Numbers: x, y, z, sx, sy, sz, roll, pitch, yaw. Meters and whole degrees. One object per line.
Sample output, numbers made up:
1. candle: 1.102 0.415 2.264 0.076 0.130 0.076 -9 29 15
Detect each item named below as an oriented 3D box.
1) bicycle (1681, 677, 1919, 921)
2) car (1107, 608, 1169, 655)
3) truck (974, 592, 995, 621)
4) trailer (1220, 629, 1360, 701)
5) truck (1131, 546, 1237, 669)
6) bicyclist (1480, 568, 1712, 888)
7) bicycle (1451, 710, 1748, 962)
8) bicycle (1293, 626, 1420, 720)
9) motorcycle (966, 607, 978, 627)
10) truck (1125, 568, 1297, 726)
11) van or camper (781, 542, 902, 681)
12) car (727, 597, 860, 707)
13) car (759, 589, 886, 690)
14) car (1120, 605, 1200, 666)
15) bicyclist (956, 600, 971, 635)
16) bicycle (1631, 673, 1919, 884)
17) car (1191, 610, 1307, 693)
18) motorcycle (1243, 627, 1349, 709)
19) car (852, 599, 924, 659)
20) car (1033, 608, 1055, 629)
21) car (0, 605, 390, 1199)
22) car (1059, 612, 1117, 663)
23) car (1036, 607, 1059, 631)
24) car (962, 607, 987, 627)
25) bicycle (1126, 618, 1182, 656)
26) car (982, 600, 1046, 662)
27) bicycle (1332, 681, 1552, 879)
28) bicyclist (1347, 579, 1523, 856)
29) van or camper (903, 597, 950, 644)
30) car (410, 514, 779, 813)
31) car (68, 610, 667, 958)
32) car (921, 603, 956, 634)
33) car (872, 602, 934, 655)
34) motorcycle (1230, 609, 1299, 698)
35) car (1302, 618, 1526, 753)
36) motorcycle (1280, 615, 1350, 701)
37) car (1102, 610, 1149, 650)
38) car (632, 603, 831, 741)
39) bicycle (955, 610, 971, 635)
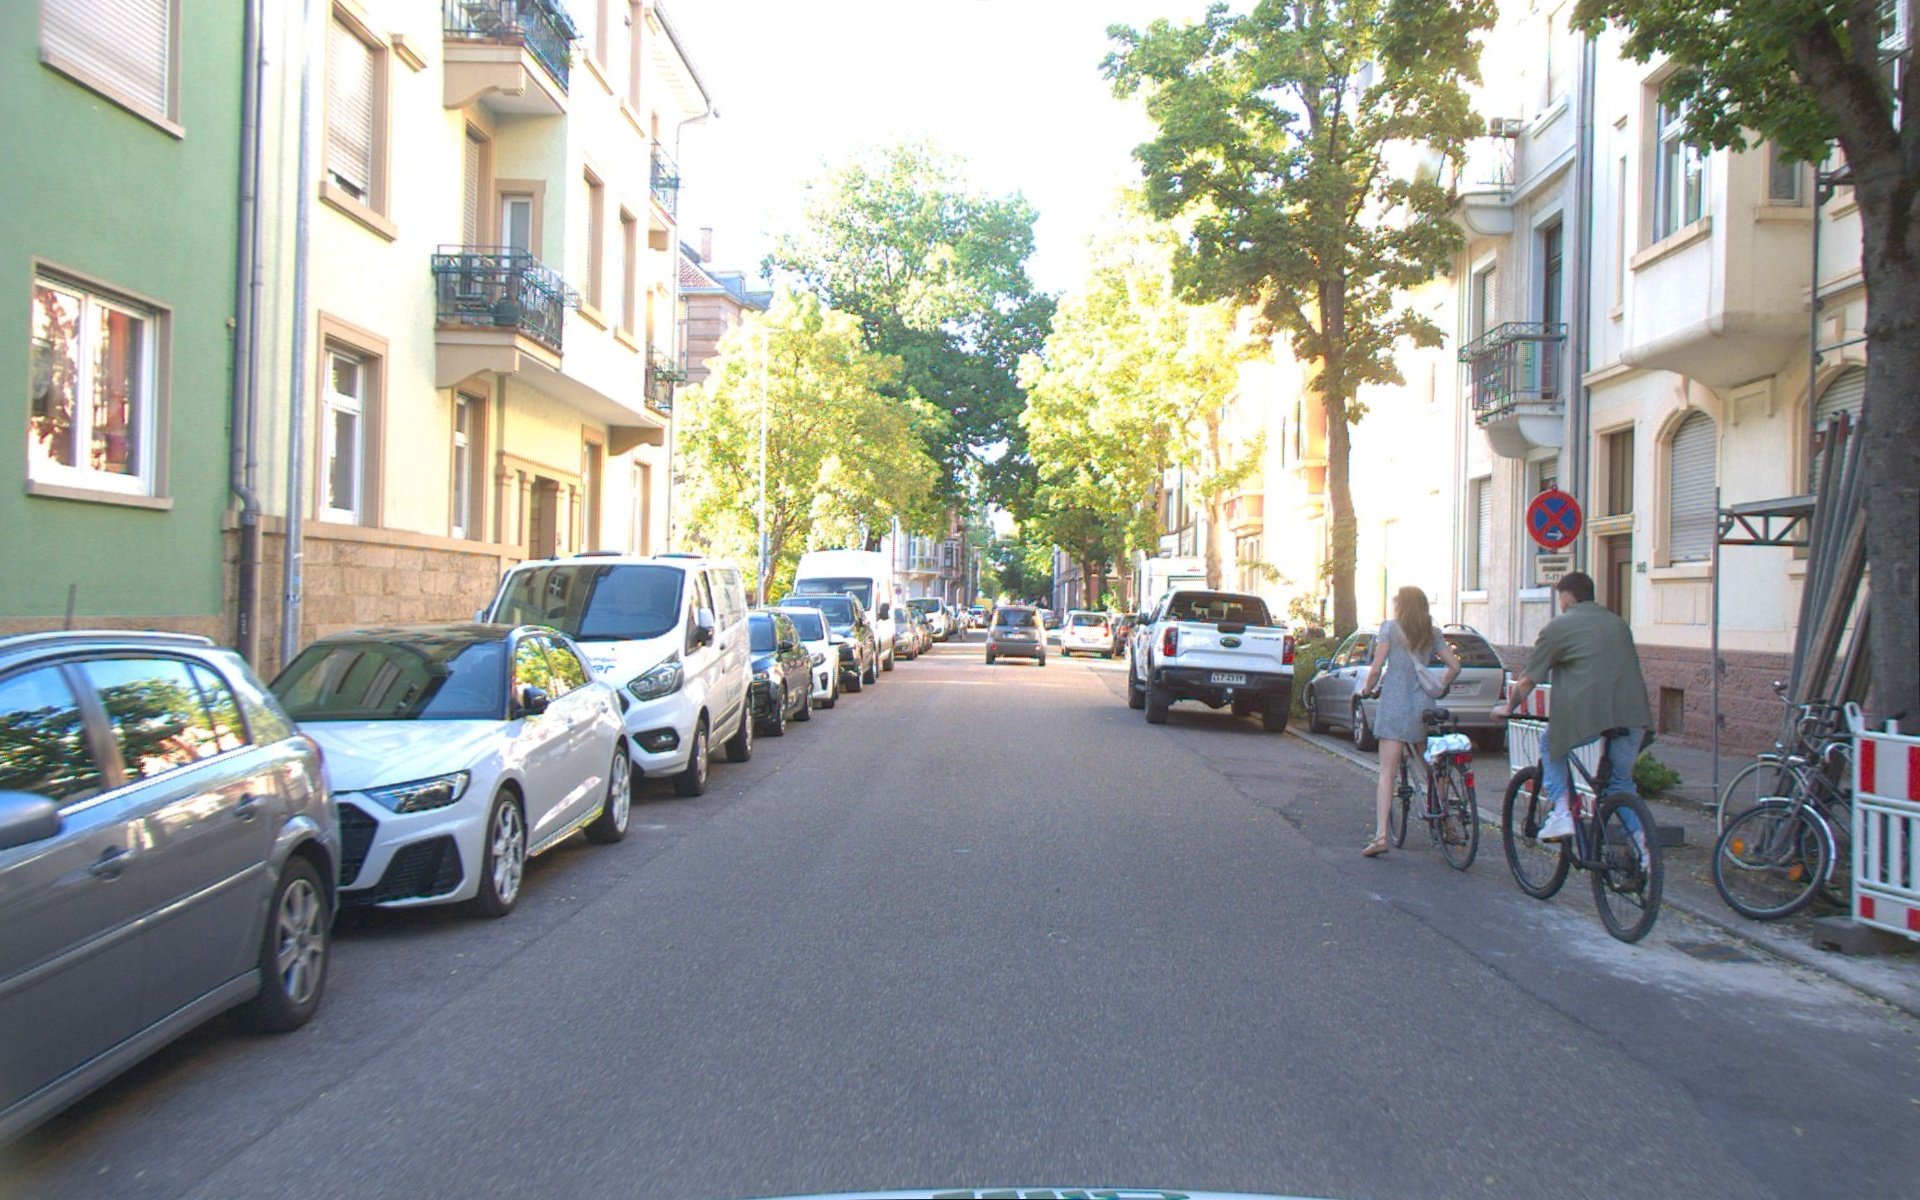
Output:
1. bicycle: 4.849 1.031 8.637 1.888 1.141 0.746 2 0 31
2. car: 6.302 1.109 59.079 1.750 1.540 4.460 2 0 1
3. truck: 2.679 0.726 179.657 2.027 2.977 5.069 -3 0 2
4. trailer: 5.583 1.092 28.026 2.044 1.131 1.112 2 0 -13
5. truck: 5.898 0.191 44.274 2.031 3.020 6.109 -1 0 1
6. bicyclist: 3.377 0.649 8.866 0.741 1.592 0.980 3 0 -6
7. bicycle: 3.343 1.192 8.849 0.724 1.078 1.856 3 -1 -4
8. bicycle: 5.828 1.064 24.355 1.723 1.328 0.586 1 0 0
9. motorcycle: 0.897 1.239 123.754 0.683 1.486 1.748 0 0 -8
10. truck: 3.518 0.614 24.152 1.790 1.983 5.542 2 0 2
11. van or camper: -2.536 0.246 36.752 2.084 2.817 5.852 -1 0 1
12. car: -2.523 0.777 25.903 1.601 1.579 4.089 0 -1 1
13. car: -2.480 0.684 30.977 1.836 1.715 4.970 -1 0 1
14. car: 6.079 1.041 50.678 1.847 1.746 4.944 1 0 0
15. bicyclist: 0.143 0.771 73.347 0.638 1.535 0.624 1 0 -1
16. bicycle: 5.204 1.068 10.079 1.934 1.141 0.748 2 0 12
17. car: 5.777 0.981 33.518 1.714 1.556 4.783 0 0 3
18. motorcycle: 5.431 1.086 26.682 1.746 1.262 0.693 2 0 -38
19. car: -2.027 0.806 47.588 1.743 1.618 4.469 -1 0 1
20. car: 6.549 1.412 128.935 1.628 1.531 3.758 2 0 3
21. car: -3.119 0.776 4.435 1.685 1.488 4.505 -1 0 -1
22. car: 4.277 1.222 55.804 1.644 1.571 3.800 2 0 1
23. car: 6.583 1.385 124.437 1.628 1.698 3.758 2 0 3
24. car: 1.127 1.277 127.046 1.759 1.457 3.926 -2 0 3
25. bicycle: 6.383 1.219 54.531 1.773 1.187 0.569 -1 0 1
26. car: 1.435 0.798 44.042 1.599 1.577 3.265 1 0 2
27. bicycle: 3.131 1.137 10.942 0.692 1.063 1.856 5 -1 -6
28. bicyclist: 3.126 0.747 10.972 0.701 1.718 0.980 4 -1 -7
29. van or camper: -1.473 0.913 74.622 1.882 2.014 5.462 -2 0 1
30. car: -3.043 0.494 15.104 2.205 2.206 5.243 -1 0 0
31. car: -2.994 0.823 9.459 1.795 1.488 4.363 -1 0 0
32. car: -1.160 1.002 90.443 1.788 1.581 4.132 -2 0 -1
33. car: -1.813 0.903 53.790 1.641 1.600 4.153 -2 0 2
34. motorcycle: 5.486 0.941 29.949 0.910 1.512 2.139 2 0 3
35. car: 5.458 0.962 20.433 1.645 1.447 4.431 0 0 1
36. motorcycle: 6.410 1.020 29.953 0.843 1.441 2.235 2 0 3
37. car: 6.510 1.161 65.298 1.563 1.514 3.749 0 0 2
38. car: -2.780 0.815 21.150 1.730 1.548 4.826 0 0 2
39. bicycle: 0.134 0.993 73.309 0.651 1.096 1.685 1 0 -1
